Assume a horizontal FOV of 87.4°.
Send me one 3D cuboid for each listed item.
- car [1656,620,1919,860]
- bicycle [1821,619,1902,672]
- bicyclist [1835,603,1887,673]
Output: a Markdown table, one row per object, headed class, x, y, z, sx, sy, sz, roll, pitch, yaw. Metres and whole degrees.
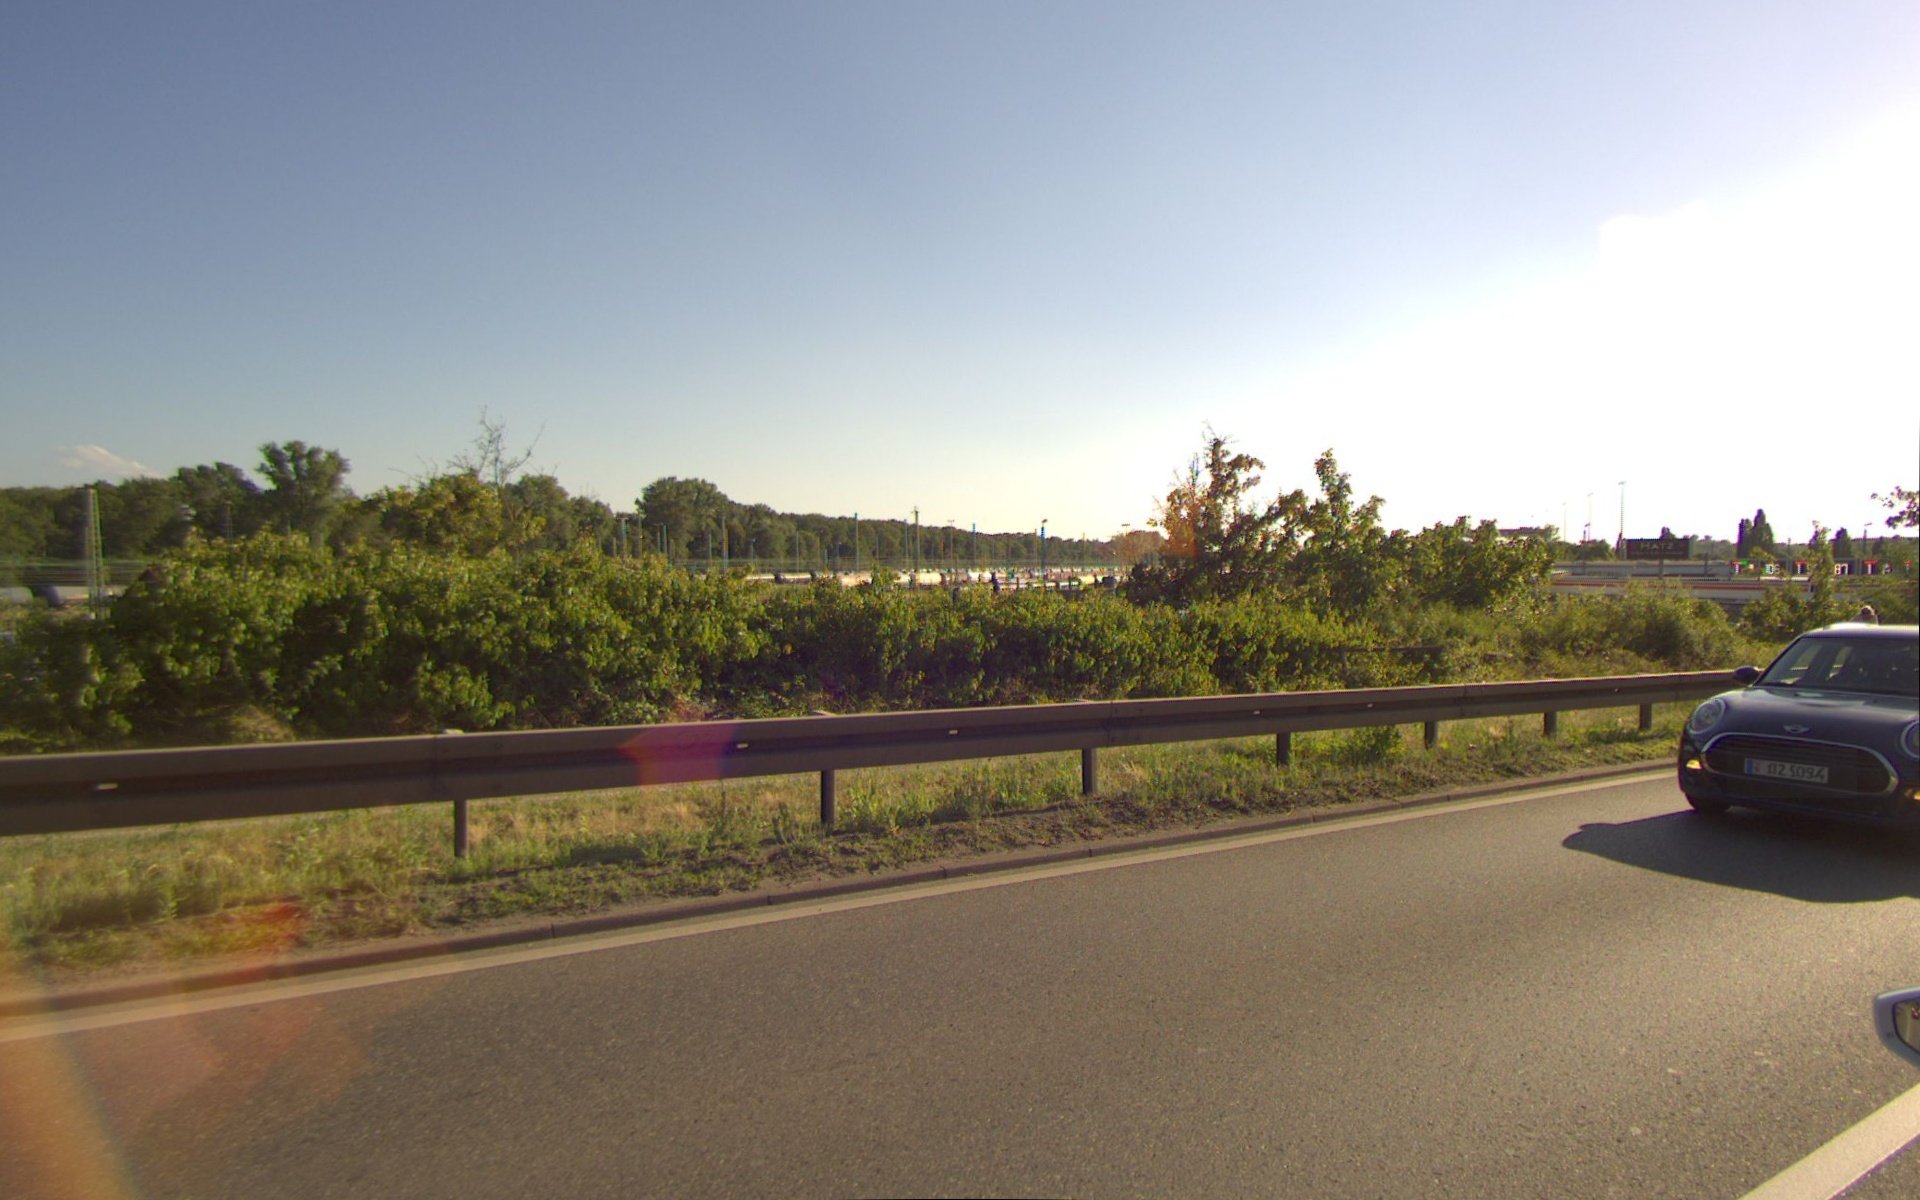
| class | x | y | z | sx | sy | sz | roll | pitch | yaw |
| --- | --- | --- | --- | --- | --- | --- | --- | --- | --- |
| car | 7.203 | 0.895 | 7.673 | 3.814 | 1.442 | 1.675 | 1 | 0 | -31 |
| bicycle | 19.541 | 0.984 | 21.767 | 2.285 | 1.091 | 0.579 | 2 | 0 | -29 |
| bicyclist | 19.535 | 0.822 | 21.778 | 0.818 | 1.478 | 0.597 | 1 | 0 | -29 |
